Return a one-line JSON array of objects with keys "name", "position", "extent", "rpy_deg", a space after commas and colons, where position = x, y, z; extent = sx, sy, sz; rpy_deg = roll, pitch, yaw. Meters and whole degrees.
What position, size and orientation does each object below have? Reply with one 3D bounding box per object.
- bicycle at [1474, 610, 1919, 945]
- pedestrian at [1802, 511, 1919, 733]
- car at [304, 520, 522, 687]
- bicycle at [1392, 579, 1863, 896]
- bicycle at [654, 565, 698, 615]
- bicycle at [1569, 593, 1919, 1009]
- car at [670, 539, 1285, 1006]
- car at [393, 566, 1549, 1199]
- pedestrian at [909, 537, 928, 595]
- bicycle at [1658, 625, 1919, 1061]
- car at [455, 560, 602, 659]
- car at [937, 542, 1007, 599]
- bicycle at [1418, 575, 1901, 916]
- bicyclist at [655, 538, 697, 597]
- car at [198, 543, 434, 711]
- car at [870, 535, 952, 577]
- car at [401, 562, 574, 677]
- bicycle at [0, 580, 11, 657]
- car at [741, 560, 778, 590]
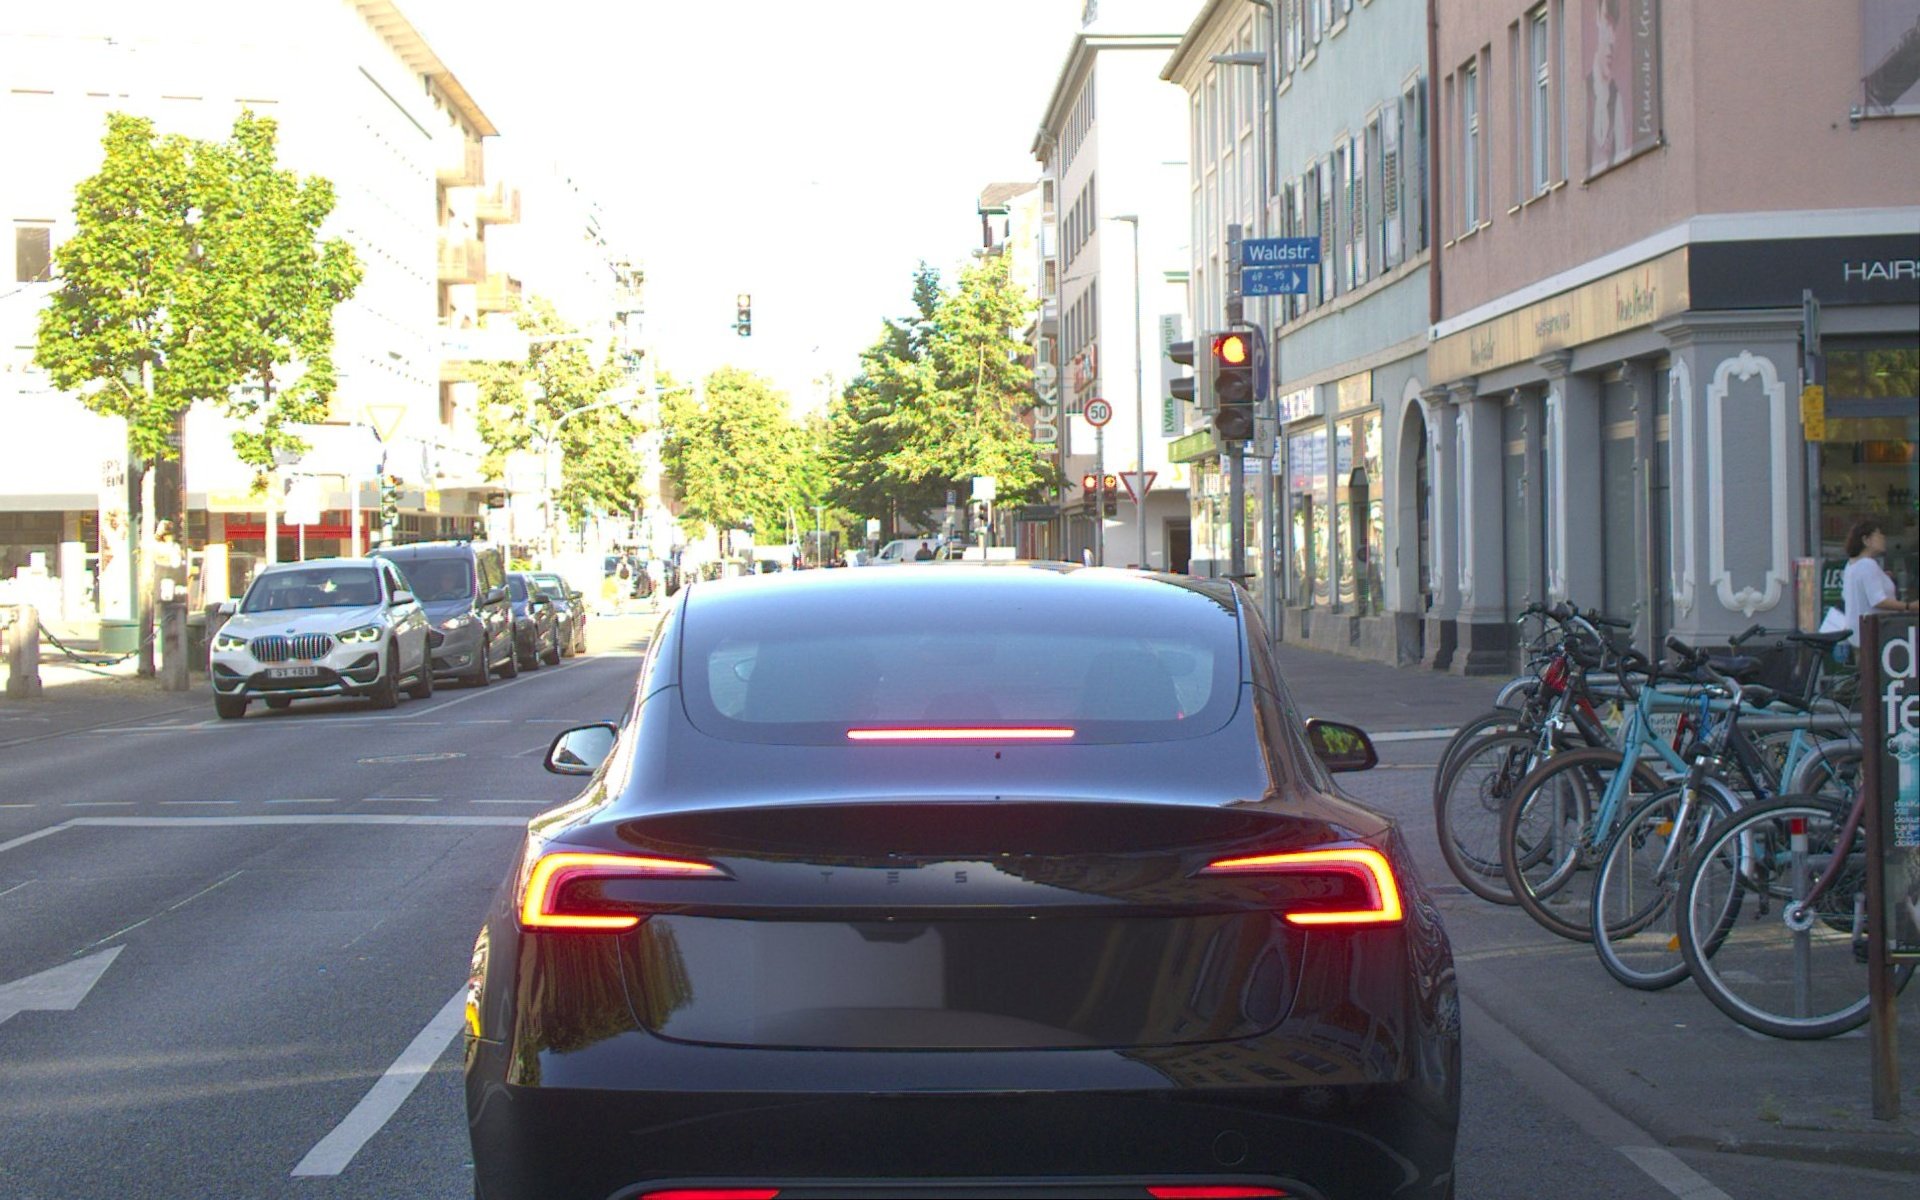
[{"name": "bicycle", "position": [2.814, 0.627, 12.477], "extent": [1.798, 1.120, 0.781], "rpy_deg": [-2, 1, 5]}, {"name": "pedestrian", "position": [6.419, 0.149, 24.362], "extent": [0.747, 1.547, 0.699], "rpy_deg": [0, 1, 2]}, {"name": "car", "position": [-6.705, -0.001, 42.612], "extent": [1.834, 1.838, 4.674], "rpy_deg": [-4, 1, 0]}, {"name": "bicycle", "position": [2.818, 0.573, 14.686], "extent": [1.862, 1.253, 0.832], "rpy_deg": [-2, 1, 5]}, {"name": "bicycle", "position": [-7.882, -0.295, 95.538], "extent": [1.111, 1.340, 4.001], "rpy_deg": [0, 1, -3]}, {"name": "bicycle", "position": [2.894, 0.624, 11.126], "extent": [1.722, 1.263, 0.790], "rpy_deg": [-2, 1, 5]}, {"name": "car", "position": [-0.010, 0.523, 13.216], "extent": [1.993, 1.507, 4.176], "rpy_deg": [0, 1, -2]}, {"name": "car", "position": [-0.002, 0.659, 7.508], "extent": [1.848, 1.450, 4.000], "rpy_deg": [0, 1, -1]}, {"name": "pedestrian", "position": [-1.464, -1.177, 119.902], "extent": [0.641, 2.007, 0.691], "rpy_deg": [0, 1, -2]}, {"name": "bicycle", "position": [3.040, 0.674, 9.994], "extent": [1.886, 1.189, 0.691], "rpy_deg": [-2, 1, 5]}, {"name": "car", "position": [-7.101, 0.123, 57.031], "extent": [1.993, 1.431, 4.675], "rpy_deg": [-4, 1, -3]}, {"name": "car", "position": [0.333, -0.868, 100.725], "extent": [1.993, 1.623, 4.000], "rpy_deg": [0, 1, 0]}, {"name": "bicycle", "position": [2.748, 0.561, 13.656], "extent": [1.746, 1.262, 0.781], "rpy_deg": [-2, 1, 3]}, {"name": "bicyclist", "position": [-7.900, -0.910, 95.621], "extent": [1.126, 1.623, 0.965], "rpy_deg": [0, 1, -3]}, {"name": "car", "position": [-6.742, 0.234, 36.413], "extent": [1.807, 1.550, 4.310], "rpy_deg": [-4, 1, -3]}, {"name": "car", "position": [-2.405, -2.151, 167.561], "extent": [3.986, 2.007, 2.000], "rpy_deg": [0, 1, -2]}, {"name": "car", "position": [-6.736, 0.242, 49.440], "extent": [1.993, 1.405, 4.675], "rpy_deg": [-4, 1, -3]}, {"name": "bicycle", "position": [-15.697, 0.282, 52.302], "extent": [2.323, 1.152, 0.843], "rpy_deg": [0, 1, -5]}, {"name": "car", "position": [-10.926, -1.372, 187.082], "extent": [1.993, 1.631, 4.001], "rpy_deg": [0, 1, -3]}]
